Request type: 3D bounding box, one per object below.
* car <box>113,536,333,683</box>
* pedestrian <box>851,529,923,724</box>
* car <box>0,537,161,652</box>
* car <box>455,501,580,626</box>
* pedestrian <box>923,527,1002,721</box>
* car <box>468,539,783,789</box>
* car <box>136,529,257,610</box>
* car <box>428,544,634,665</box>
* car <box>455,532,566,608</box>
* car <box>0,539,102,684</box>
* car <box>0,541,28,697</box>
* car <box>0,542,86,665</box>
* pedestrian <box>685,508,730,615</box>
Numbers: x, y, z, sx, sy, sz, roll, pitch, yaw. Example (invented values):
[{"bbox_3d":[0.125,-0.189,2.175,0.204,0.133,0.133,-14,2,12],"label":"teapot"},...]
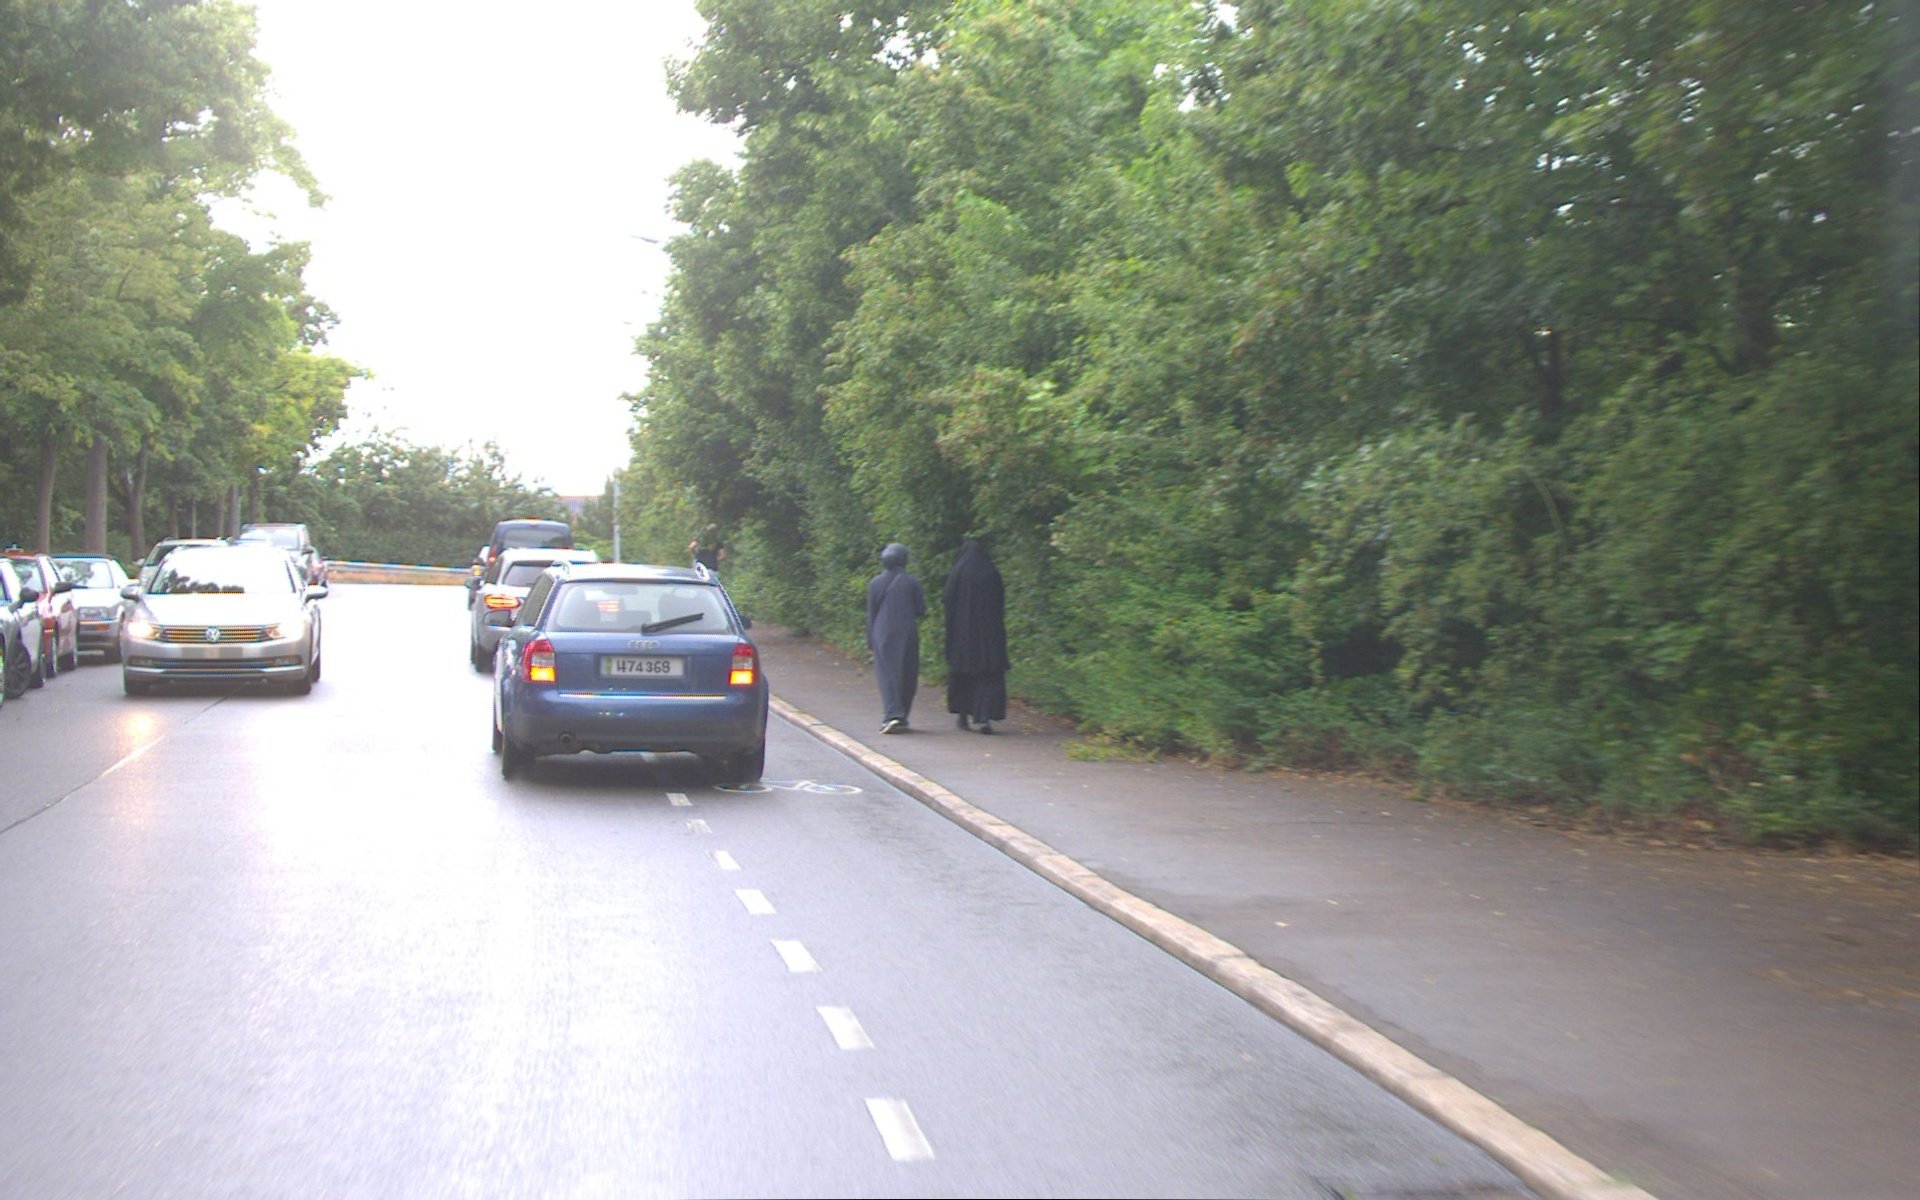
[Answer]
[{"bbox_3d":[-7.450,0.064,35.082,1.883,1.397,4.257,0,1,-8],"label":"car"},{"bbox_3d":[-0.593,0.207,27.911,0.552,1.561,0.487,-1,1,-3],"label":"pedestrian"},{"bbox_3d":[-11.395,-0.095,44.270,1.754,1.397,4.420,0,1,-8],"label":"car"},{"bbox_3d":[-7.873,-0.616,60.964,1.788,1.947,4.001,-4,-1,-11],"label":"car"},{"bbox_3d":[0.015,0.185,28.005,0.595,1.561,0.669,0,1,-3],"label":"pedestrian"},{"bbox_3d":[-2.404,0.380,23.826,1.746,1.402,4.002,3,2,-11],"label":"car"},{"bbox_3d":[-14.033,-0.570,63.364,1.688,1.432,4.257,0,1,-6],"label":"car"},{"bbox_3d":[-5.232,0.025,41.505,1.890,1.384,4.001,0,1,-16],"label":"car"},{"bbox_3d":[-9.993,-0.674,76.239,1.821,1.611,3.786,-1,1,-17],"label":"car"},{"bbox_3d":[-10.242,0.100,35.460,1.993,1.400,4.715,-1,1,-5],"label":"car"},{"bbox_3d":[-9.495,0.203,29.721,1.993,1.400,4.715,-1,1,-5],"label":"car"},{"bbox_3d":[-11.096,0.018,39.829,1.595,1.357,4.002,0,1,-10],"label":"car"},{"bbox_3d":[-4.405,-0.673,59.946,0.716,1.828,1.021,-1,1,-6],"label":"pedestrian"}]
